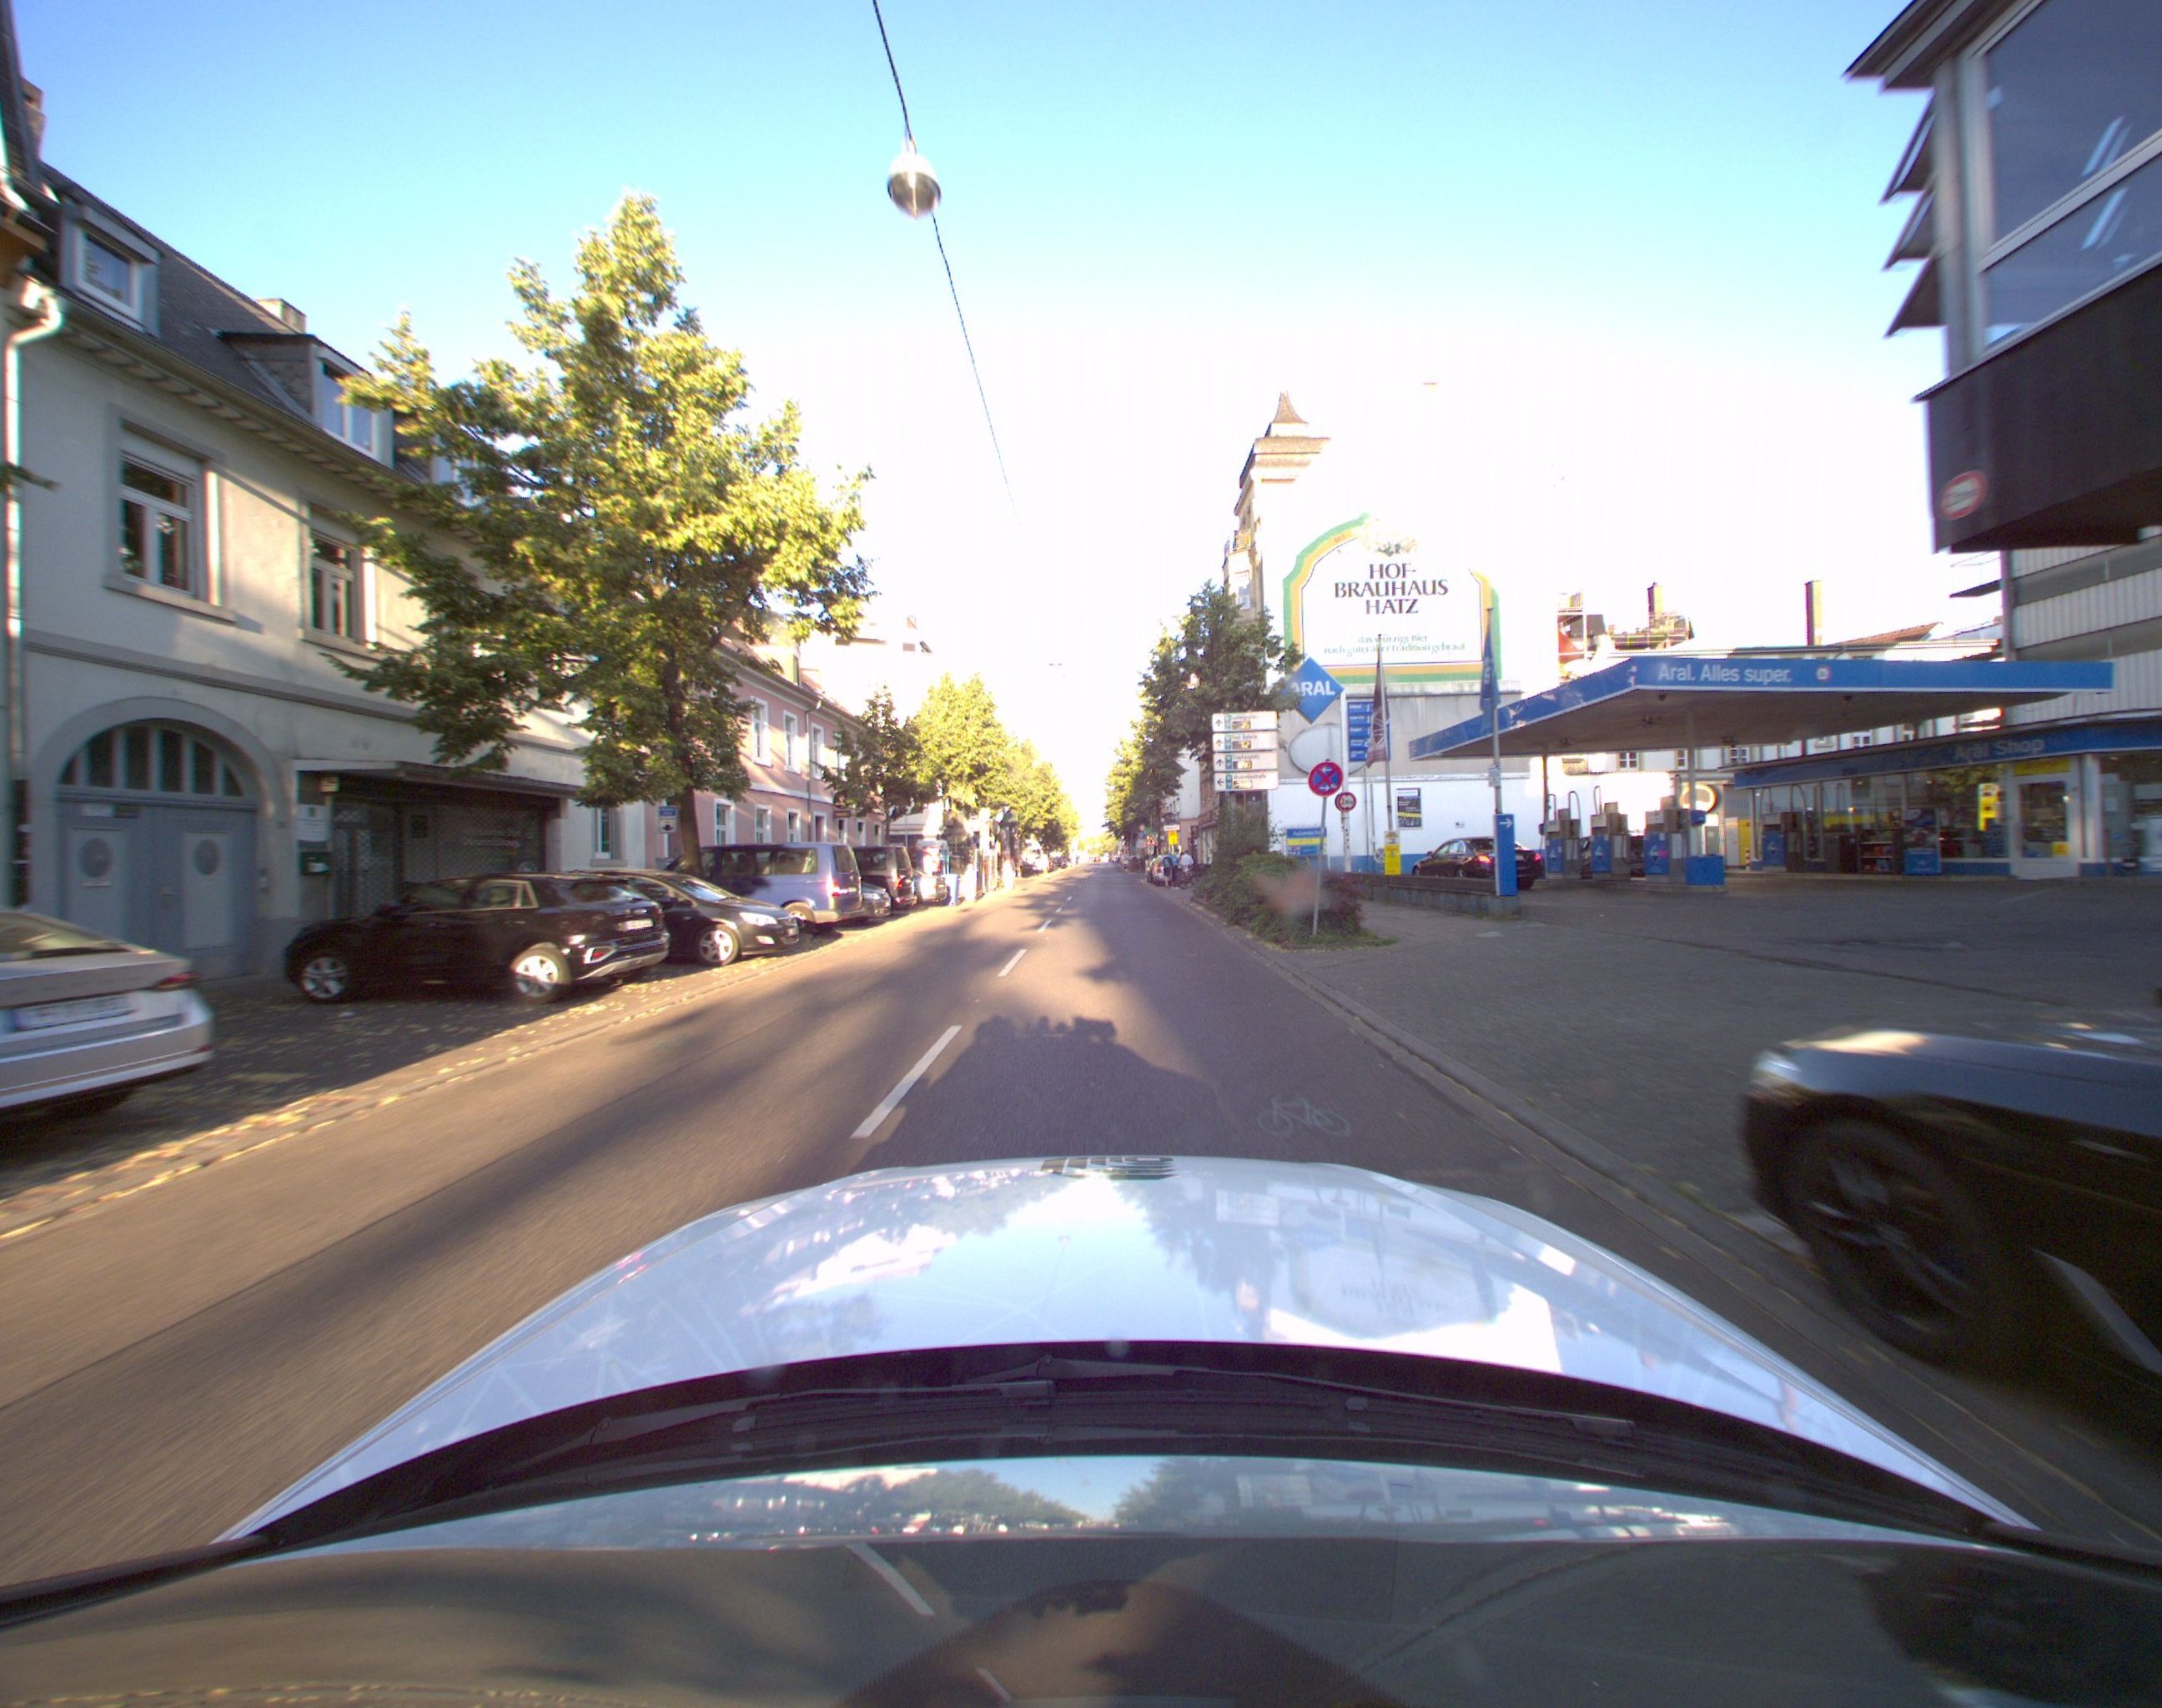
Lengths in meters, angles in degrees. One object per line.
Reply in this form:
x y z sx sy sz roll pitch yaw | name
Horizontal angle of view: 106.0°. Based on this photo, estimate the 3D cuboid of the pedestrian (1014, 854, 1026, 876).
-4.699 0.866 62.730 0.706 1.686 0.836 -1 0 10 | pedestrian

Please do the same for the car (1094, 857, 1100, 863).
4.647 1.741 234.077 1.745 1.540 3.306 -2 -1 3 | car

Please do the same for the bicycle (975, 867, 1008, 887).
-4.892 1.239 44.424 1.672 1.079 0.445 1 -2 9 | bicycle

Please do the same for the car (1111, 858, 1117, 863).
8.960 1.836 219.142 1.507 1.298 3.306 -1 -1 3 | car

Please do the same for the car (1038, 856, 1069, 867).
-4.063 1.157 122.050 4.425 1.523 1.920 -1 -1 2 | car

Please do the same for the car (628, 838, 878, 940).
-6.896 0.710 17.482 4.466 1.976 2.069 -1 0 2 | car

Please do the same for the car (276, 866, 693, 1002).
-7.338 0.948 10.311 3.905 1.501 1.907 -1 0 4 | car

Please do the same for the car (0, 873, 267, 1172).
-7.698 0.901 4.656 4.459 1.485 1.735 -1 0 3 | car

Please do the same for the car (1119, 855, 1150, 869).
6.531 0.935 98.720 1.654 1.588 3.846 -1 0 44 | car

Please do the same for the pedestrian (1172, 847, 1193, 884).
4.908 0.559 39.358 0.678 1.706 0.821 -4 0 -13 | pedestrian

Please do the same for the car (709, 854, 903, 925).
-6.693 0.847 20.145 4.114 1.637 1.861 -1 0 2 | car

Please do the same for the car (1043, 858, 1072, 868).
-3.677 1.377 126.441 4.287 1.598 1.920 -1 -1 2 | car

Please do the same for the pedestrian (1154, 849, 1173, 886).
3.974 0.640 39.170 0.677 1.754 0.823 -2 -1 -9 | pedestrian

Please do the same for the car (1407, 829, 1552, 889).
10.971 0.175 22.886 1.728 1.431 4.910 -3 -1 2 | car

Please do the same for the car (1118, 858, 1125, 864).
8.884 1.482 178.158 1.507 1.276 3.306 -1 -1 3 | car

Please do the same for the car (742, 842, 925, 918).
-6.784 0.699 22.702 4.470 1.976 1.965 -1 0 -1 | car

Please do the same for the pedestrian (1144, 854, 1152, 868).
6.695 0.696 81.919 0.723 1.378 0.781 -1 0 1 | pedestrian

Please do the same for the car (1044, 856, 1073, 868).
-3.534 1.283 128.543 4.425 1.759 1.920 -1 -1 2 | car

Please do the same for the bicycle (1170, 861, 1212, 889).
4.902 0.916 36.196 0.856 1.098 1.939 -4 0 40 | bicycle

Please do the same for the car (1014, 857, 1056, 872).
-4.950 1.146 88.076 4.425 1.506 1.845 -1 -1 2 | car

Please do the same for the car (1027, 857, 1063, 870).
-4.623 1.239 104.603 4.425 1.568 1.920 -1 -1 2 | car

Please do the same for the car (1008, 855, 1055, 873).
-5.006 1.019 83.079 4.554 1.698 2.061 -1 -1 2 | car

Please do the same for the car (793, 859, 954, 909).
-6.518 0.944 25.911 4.573 1.470 1.895 -1 0 4 | car

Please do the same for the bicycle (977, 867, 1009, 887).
-4.845 1.252 45.009 1.672 1.079 0.445 1 -2 9 | bicycle

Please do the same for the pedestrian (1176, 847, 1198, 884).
5.052 0.548 38.747 0.657 1.700 0.660 -4 -1 -43 | pedestrian

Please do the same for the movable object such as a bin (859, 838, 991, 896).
-7.199 0.537 38.108 2.285 2.495 5.789 -2 0 45 | movable object such as a bin

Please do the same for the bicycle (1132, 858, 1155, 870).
5.638 0.939 73.908 1.935 1.074 0.710 -1 0 33 | bicycle

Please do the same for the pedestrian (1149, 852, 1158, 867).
9.400 0.765 105.677 0.916 1.926 1.014 0 -1 -8 | pedestrian

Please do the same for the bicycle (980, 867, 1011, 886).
-4.789 1.278 45.733 1.672 1.021 0.445 1 -2 9 | bicycle

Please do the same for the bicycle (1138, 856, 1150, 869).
5.826 0.803 75.367 0.593 1.178 1.856 -1 0 21 | bicycle

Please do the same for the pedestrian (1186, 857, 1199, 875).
7.582 0.822 55.577 0.679 1.141 1.361 -3 -2 2 | pedestrian

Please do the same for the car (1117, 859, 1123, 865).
9.430 1.947 196.316 1.507 1.263 3.306 -1 -1 3 | car

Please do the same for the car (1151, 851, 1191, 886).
4.615 0.716 42.245 1.680 1.575 4.015 -4 0 2 | car

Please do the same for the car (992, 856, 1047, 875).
-5.264 1.011 69.897 4.531 1.541 1.811 -1 -1 0 | car

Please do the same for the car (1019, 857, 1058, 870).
-4.926 1.091 94.956 4.425 1.458 1.860 -1 -1 2 | car

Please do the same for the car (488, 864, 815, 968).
-6.817 0.943 13.323 4.317 1.501 1.840 -1 0 -4 | car

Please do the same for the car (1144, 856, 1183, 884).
4.677 0.862 46.600 1.778 1.375 4.525 -4 0 1 | car

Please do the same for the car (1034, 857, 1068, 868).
-4.059 1.112 111.171 4.425 1.449 1.920 -1 -1 2 | car

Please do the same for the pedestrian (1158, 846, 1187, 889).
4.086 0.598 36.298 1.013 1.825 0.778 -4 0 -8 | pedestrian

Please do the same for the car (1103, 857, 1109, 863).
6.806 1.692 221.792 1.714 1.475 3.306 -2 -1 3 | car

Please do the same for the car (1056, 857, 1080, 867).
-2.463 1.541 155.928 4.425 1.959 1.920 -1 -1 2 | car

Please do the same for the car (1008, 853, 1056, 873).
-4.823 0.893 80.270 4.555 1.962 1.991 -1 -1 1 | car

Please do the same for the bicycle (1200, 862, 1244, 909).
3.806 0.830 21.905 0.478 1.143 1.691 -4 -1 32 | bicycle

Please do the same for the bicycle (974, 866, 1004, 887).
-4.850 1.190 42.940 1.554 1.116 0.440 2 -2 -31 | bicycle

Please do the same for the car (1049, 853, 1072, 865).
-4.131 1.018 166.028 4.425 2.435 1.920 -1 -1 2 | car

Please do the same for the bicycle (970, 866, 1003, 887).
-5.068 1.230 43.835 1.677 1.079 0.444 1 -2 1 | bicycle

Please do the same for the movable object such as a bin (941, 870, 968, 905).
-4.325 1.137 27.891 0.687 1.105 0.884 -2 0 3 | movable object such as a bin

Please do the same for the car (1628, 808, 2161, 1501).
3.244 0.621 0.990 1.823 1.488 4.848 -4 0 0 | car

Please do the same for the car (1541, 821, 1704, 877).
15.764 -0.092 24.065 1.704 1.402 4.760 -3 -1 2 | car

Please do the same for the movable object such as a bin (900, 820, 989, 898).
-5.570 0.191 34.094 2.615 2.969 5.305 -1 0 1 | movable object such as a bin
